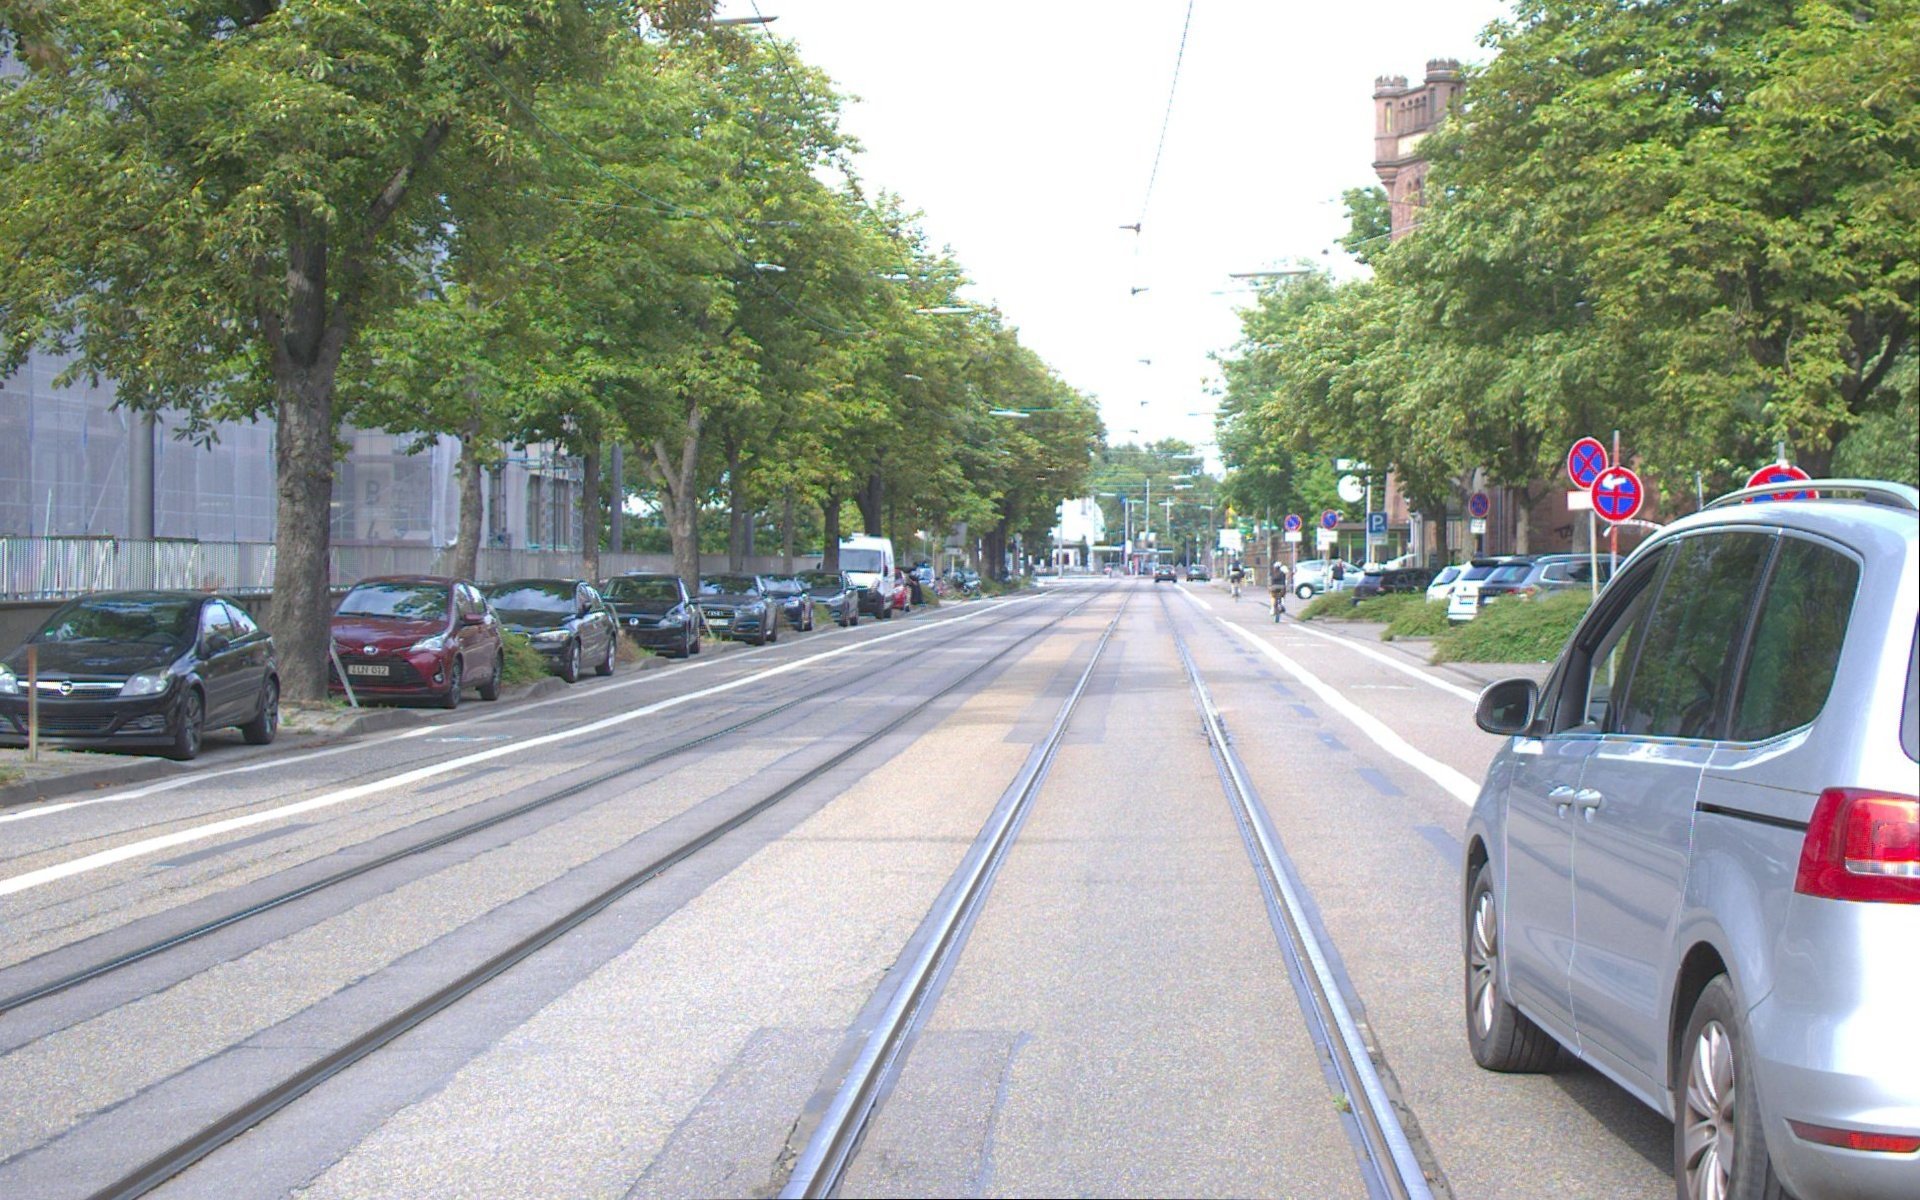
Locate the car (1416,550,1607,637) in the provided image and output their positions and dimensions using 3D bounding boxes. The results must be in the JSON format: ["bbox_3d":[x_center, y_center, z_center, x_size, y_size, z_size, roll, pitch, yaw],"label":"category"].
[{"bbox_3d":[10.459,-0.123,65.107,3.636,1.597,1.681,0,0,-42],"label":"car"}]

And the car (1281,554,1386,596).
[{"bbox_3d":[15.337,-1.023,141.318,3.986,1.687,2.000,0,1,-2],"label":"car"}]

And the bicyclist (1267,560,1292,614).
[{"bbox_3d":[8.791,-0.361,94.529,0.593,1.454,0.875,1,1,1],"label":"bicyclist"}]

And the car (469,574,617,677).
[{"bbox_3d":[-5.974,0.334,49.620,1.590,1.398,3.962,1,1,1],"label":"car"}]

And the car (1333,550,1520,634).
[{"bbox_3d":[9.154,-0.149,67.321,3.636,1.597,1.681,0,0,-42],"label":"car"}]

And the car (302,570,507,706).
[{"bbox_3d":[-6.474,0.411,40.426,1.636,1.491,3.962,1,1,2],"label":"car"}]

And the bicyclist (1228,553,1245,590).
[{"bbox_3d":[11.349,-1.179,140.948,0.659,1.491,0.929,1,1,3],"label":"bicyclist"}]

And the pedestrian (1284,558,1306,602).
[{"bbox_3d":[13.751,-0.831,141.262,0.748,1.784,0.730,0,0,18],"label":"pedestrian"}]

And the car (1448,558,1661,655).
[{"bbox_3d":[10.108,0.105,58.319,3.636,1.597,1.681,0,0,-42],"label":"car"}]

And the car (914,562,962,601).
[{"bbox_3d":[-0.819,-0.703,129.258,1.590,1.398,3.549,1,1,3],"label":"car"}]

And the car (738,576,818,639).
[{"bbox_3d":[-4.227,0.153,80.391,1.590,1.398,3.962,1,1,1],"label":"car"}]

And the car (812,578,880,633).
[{"bbox_3d":[-2.982,0.127,90.536,1.590,1.398,3.962,1,1,1],"label":"car"}]

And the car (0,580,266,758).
[{"bbox_3d":[-7.241,0.547,29.792,1.590,1.398,3.962,1,1,1],"label":"car"}]

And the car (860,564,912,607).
[{"bbox_3d":[-2.479,-0.493,116.376,1.590,1.398,3.962,1,1,1],"label":"car"}]

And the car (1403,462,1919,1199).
[{"bbox_3d":[2.382,0.572,8.560,1.812,1.695,4.618,1,1,-2],"label":"car"}]

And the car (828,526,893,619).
[{"bbox_3d":[-2.980,-0.840,103.912,1.720,2.695,5.470,1,1,1],"label":"car"}]

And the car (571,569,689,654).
[{"bbox_3d":[-5.717,0.179,59.922,1.590,1.398,3.962,1,1,1],"label":"car"}]

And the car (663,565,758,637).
[{"bbox_3d":[-5.067,-0.005,70.200,1.590,1.398,3.962,1,1,1],"label":"car"}]

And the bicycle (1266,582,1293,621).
[{"bbox_3d":[8.783,0.031,94.532,0.593,1.040,1.978,1,1,1],"label":"bicycle"}]
